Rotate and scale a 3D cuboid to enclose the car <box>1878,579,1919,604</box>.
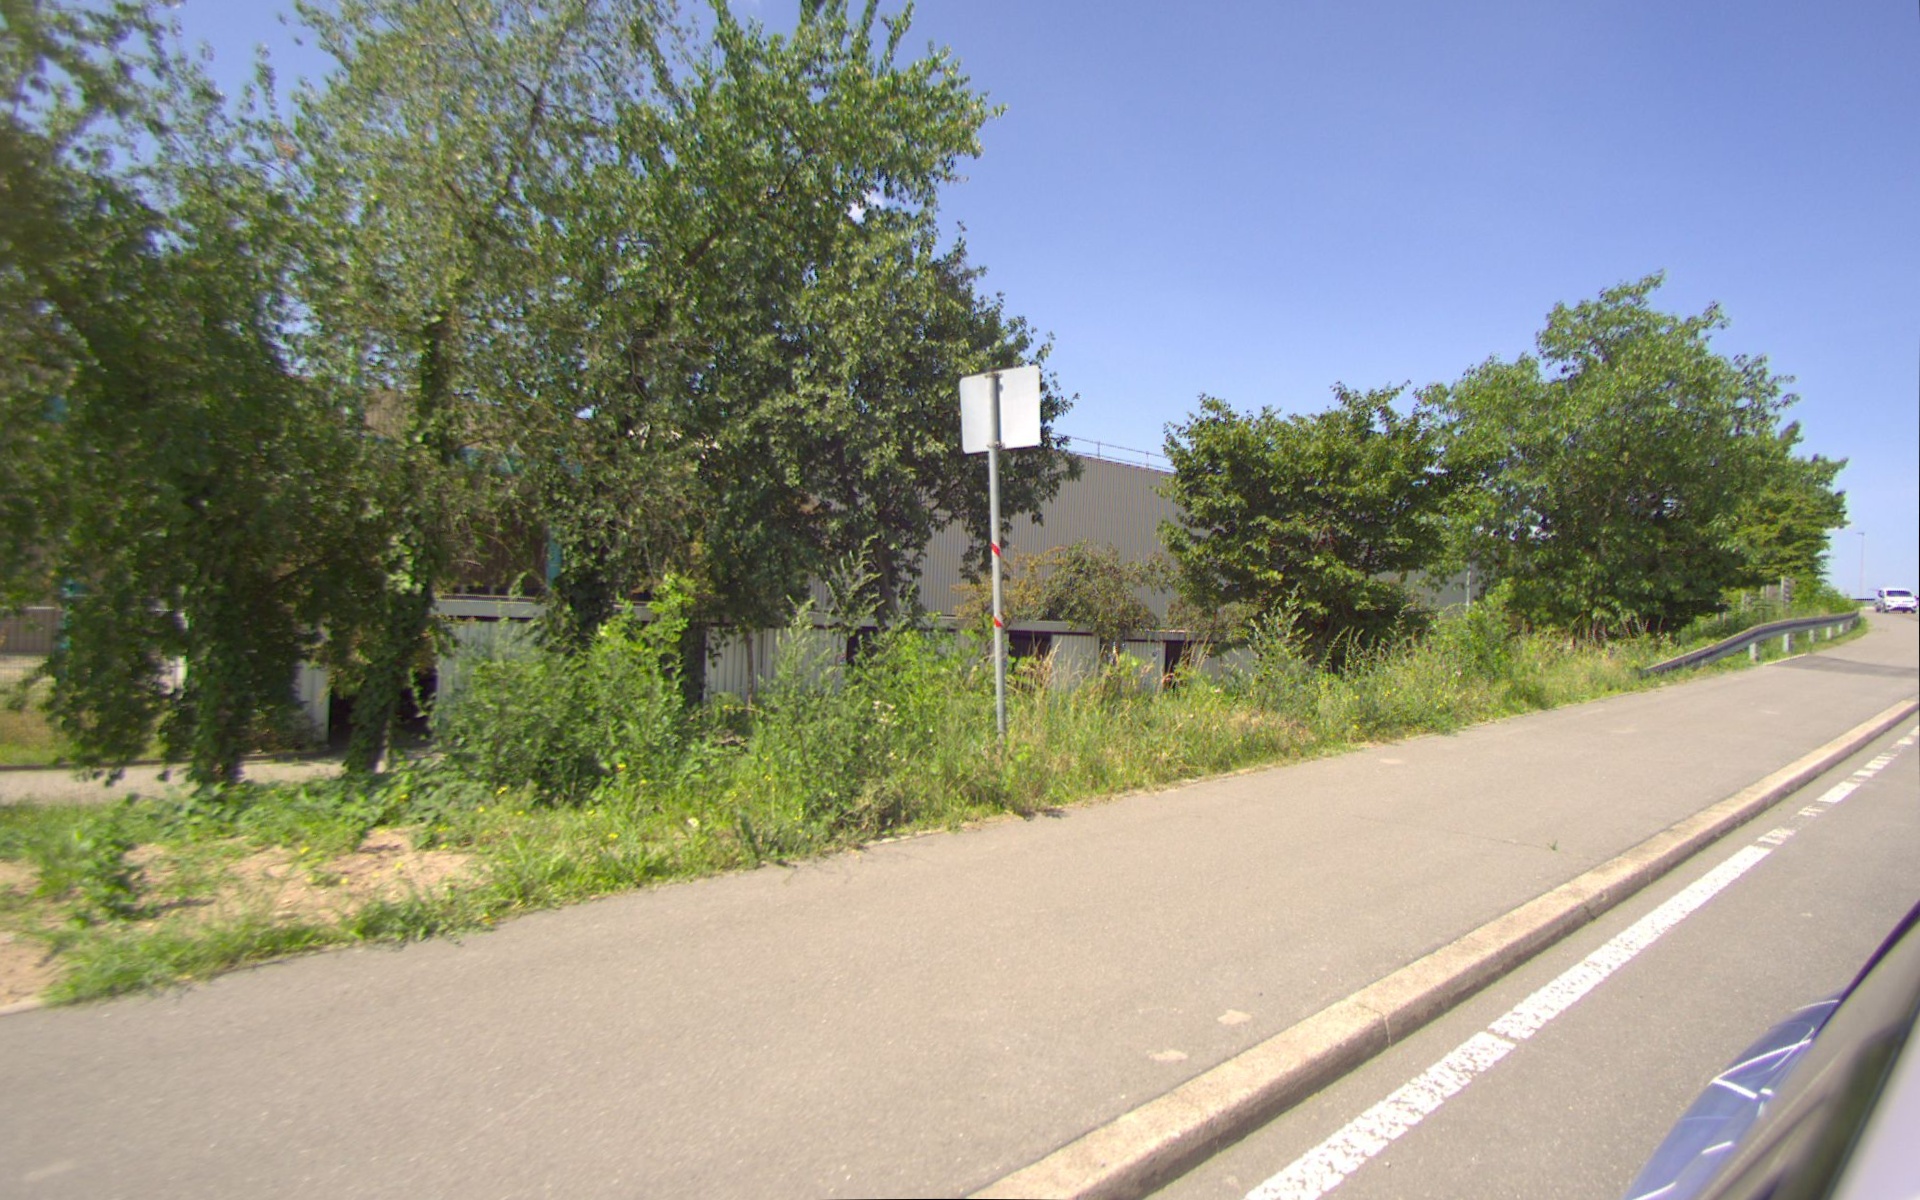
[{"bbox_3d":[70.262,-0.626,75.045,2.072,1.783,4.245,-1,-1,25],"label":"car"}]
